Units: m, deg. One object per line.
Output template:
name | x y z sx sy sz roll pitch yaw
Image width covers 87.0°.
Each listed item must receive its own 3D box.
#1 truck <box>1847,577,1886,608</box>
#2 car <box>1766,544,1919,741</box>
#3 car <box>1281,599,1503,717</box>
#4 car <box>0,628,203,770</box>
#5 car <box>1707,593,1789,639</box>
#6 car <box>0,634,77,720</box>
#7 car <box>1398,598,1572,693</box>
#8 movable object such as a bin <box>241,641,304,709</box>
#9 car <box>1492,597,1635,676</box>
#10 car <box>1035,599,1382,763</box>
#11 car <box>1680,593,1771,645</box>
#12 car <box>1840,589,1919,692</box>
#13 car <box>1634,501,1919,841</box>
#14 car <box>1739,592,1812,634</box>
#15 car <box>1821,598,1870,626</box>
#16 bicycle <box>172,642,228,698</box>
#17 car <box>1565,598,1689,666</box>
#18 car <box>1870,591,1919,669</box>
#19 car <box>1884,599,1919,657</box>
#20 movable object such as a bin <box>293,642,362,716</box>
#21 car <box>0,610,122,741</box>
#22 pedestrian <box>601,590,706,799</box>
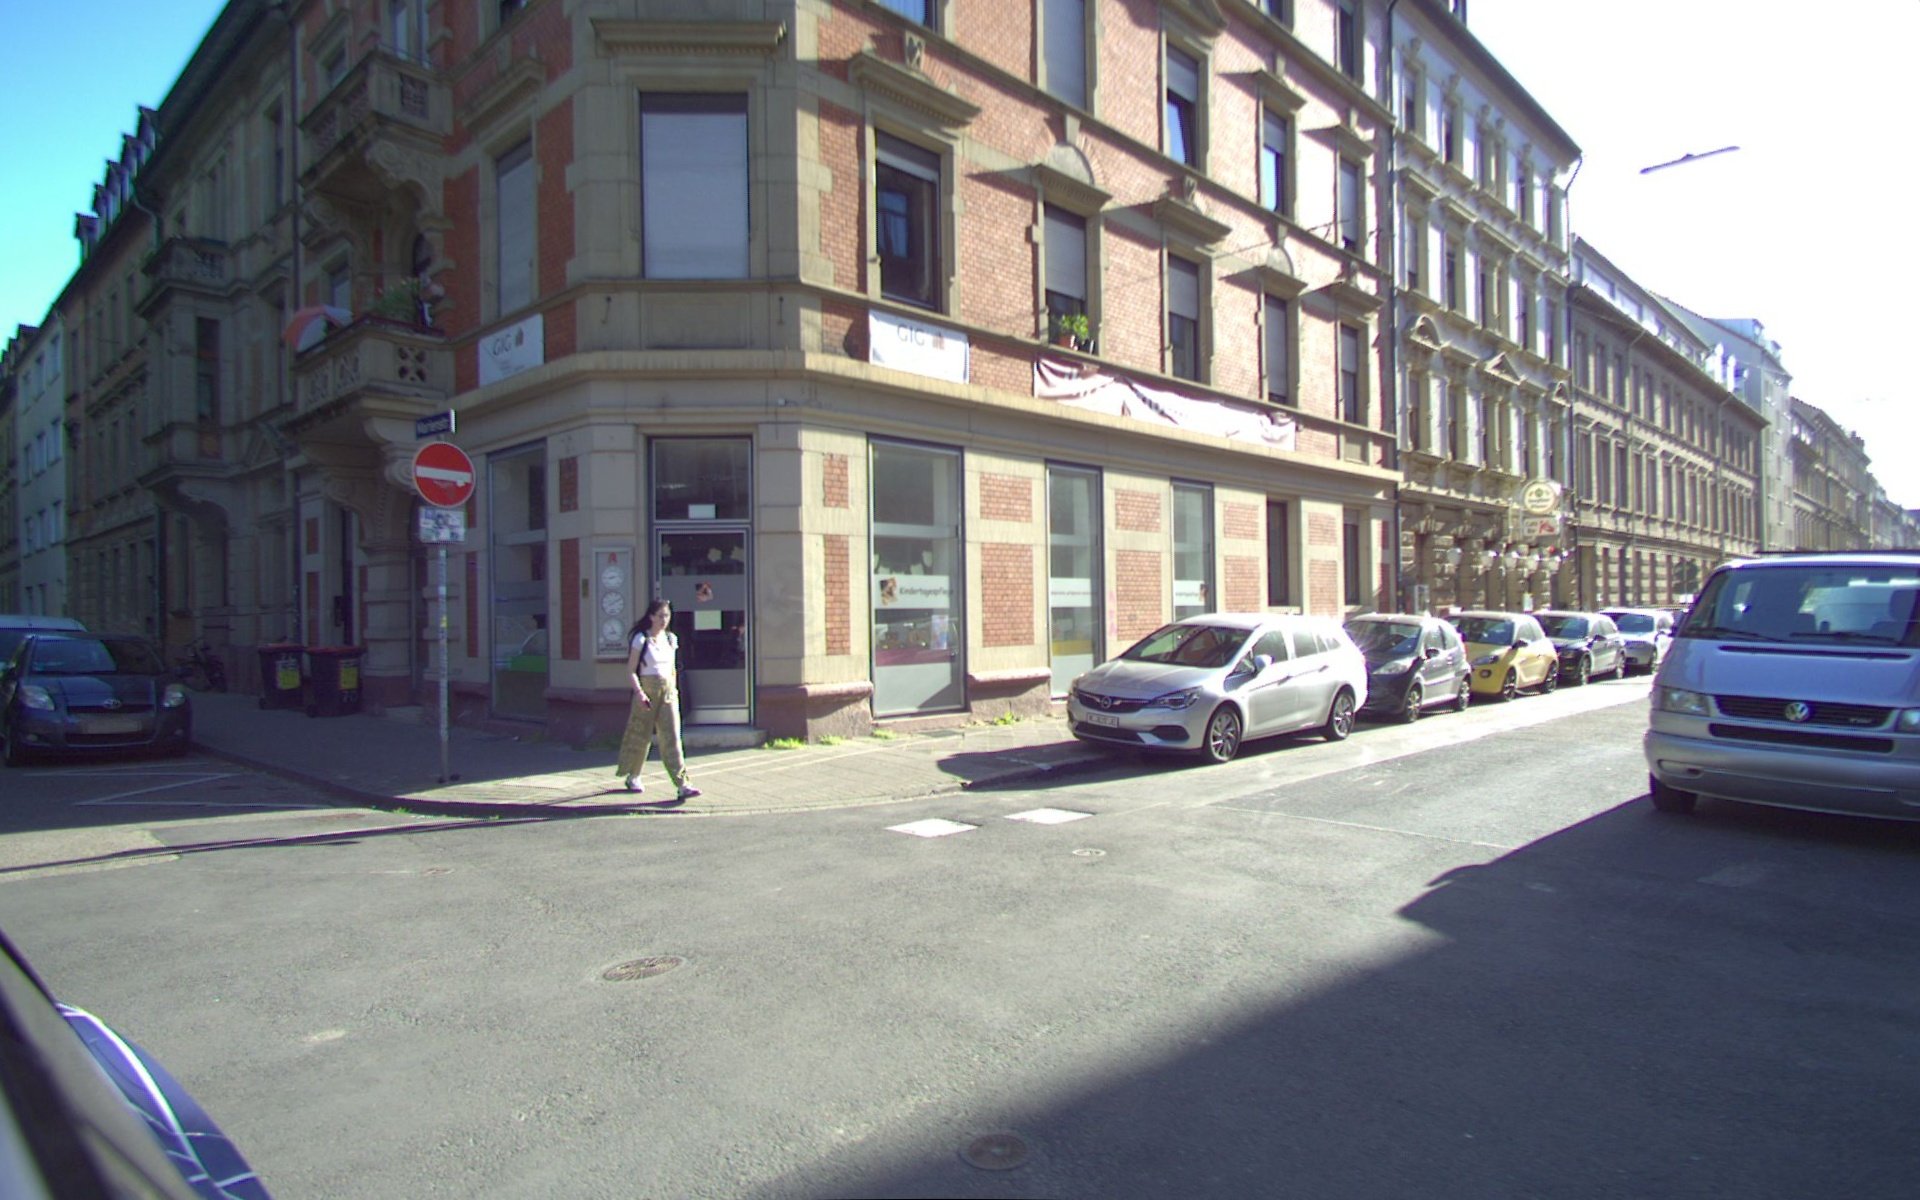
truck | 61.219 -0.464 68.327 1.780 2.006 4.300 -2 -2 44
car | 10.740 0.412 11.401 4.297 1.908 1.942 0 1 -43
car | 6.611 0.774 15.340 3.637 1.542 1.774 0 1 -43
car | -10.965 1.124 12.555 3.970 1.492 1.675 -2 -4 41
car | 27.970 0.531 35.905 3.482 1.542 1.774 0 1 -43
car | -18.506 1.431 19.381 3.968 1.526 1.676 -2 -3 39
car | 9.670 0.747 18.564 3.482 1.542 1.774 0 1 -43
movable object such as a bin | -11.338 1.224 16.691 0.856 1.049 0.631 -2 0 41
car | 13.075 0.731 21.866 3.482 1.542 1.774 0 1 -43
car | 3.043 0.776 11.827 4.374 1.542 1.869 0 1 -43
car | 24.686 0.576 32.599 3.482 1.542 1.774 0 1 -43
car | 15.122 0.583 15.832 1.780 1.453 4.300 -2 -2 44
car | 6.828 0.404 7.550 4.656 1.908 2.029 0 0 -44
car | 32.360 0.496 40.132 3.482 1.542 1.774 0 1 -43
car | 49.042 0.655 56.019 1.780 1.496 4.300 -2 -2 44
bicycle | -15.322 1.382 20.388 1.545 1.049 0.565 -2 0 41
car | 16.449 0.730 24.912 3.482 1.542 1.774 0 1 -43
car | 20.051 0.586 20.817 1.780 1.496 4.300 -2 -2 44
car | 26.557 0.730 27.653 1.780 1.496 4.300 -2 -2 44
movable object such as a bin | -9.538 1.171 15.258 0.856 1.049 0.631 -2 0 41
car | -14.898 1.137 15.979 4.569 1.825 1.812 -2 -4 41
pedestrian | -2.564 0.747 8.468 0.717 1.656 0.542 1 1 41
